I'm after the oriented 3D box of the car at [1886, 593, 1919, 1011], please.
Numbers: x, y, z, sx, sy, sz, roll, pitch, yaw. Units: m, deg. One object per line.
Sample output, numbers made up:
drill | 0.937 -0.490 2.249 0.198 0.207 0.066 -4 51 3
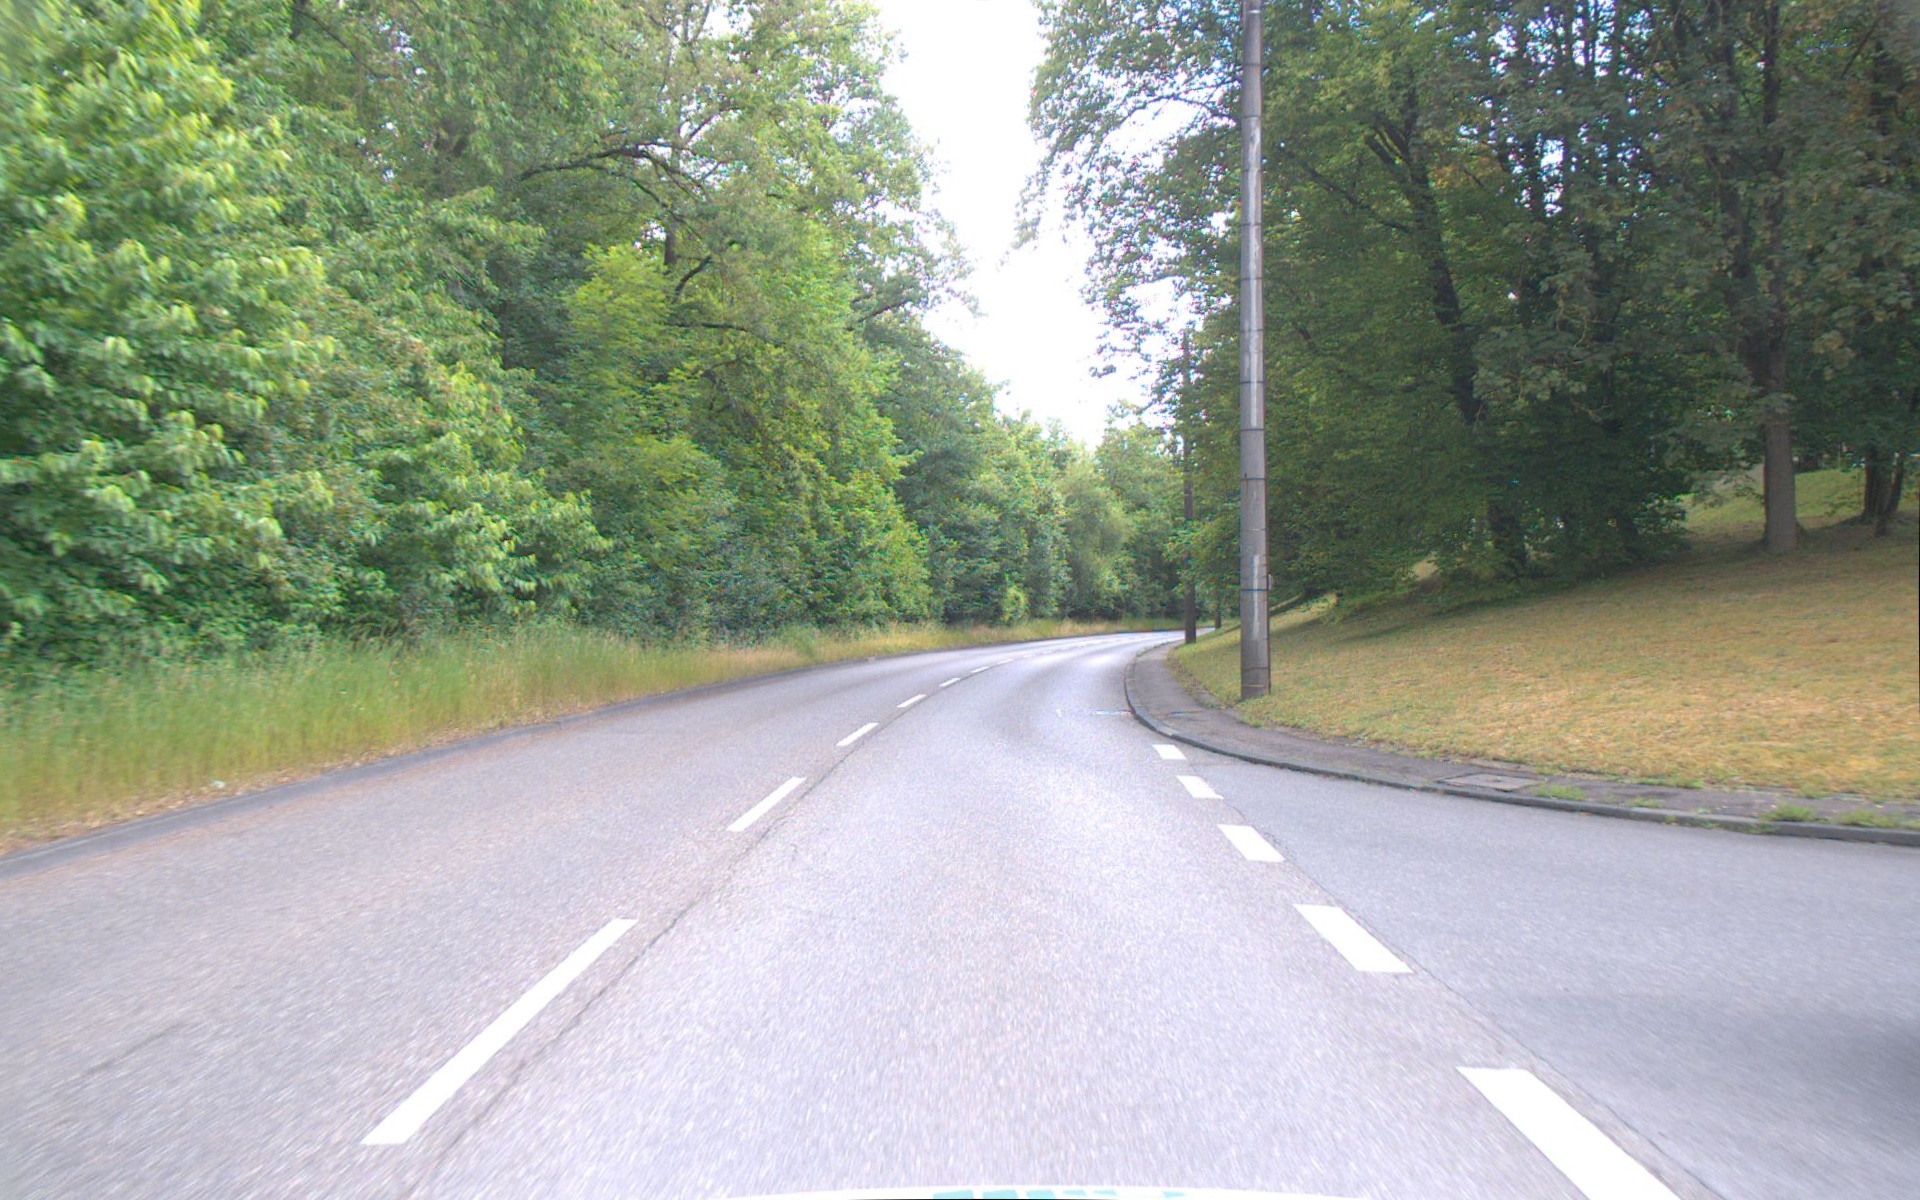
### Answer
car | 5.042 0.697 5.259 3.234 1.521 1.669 -1 0 4
